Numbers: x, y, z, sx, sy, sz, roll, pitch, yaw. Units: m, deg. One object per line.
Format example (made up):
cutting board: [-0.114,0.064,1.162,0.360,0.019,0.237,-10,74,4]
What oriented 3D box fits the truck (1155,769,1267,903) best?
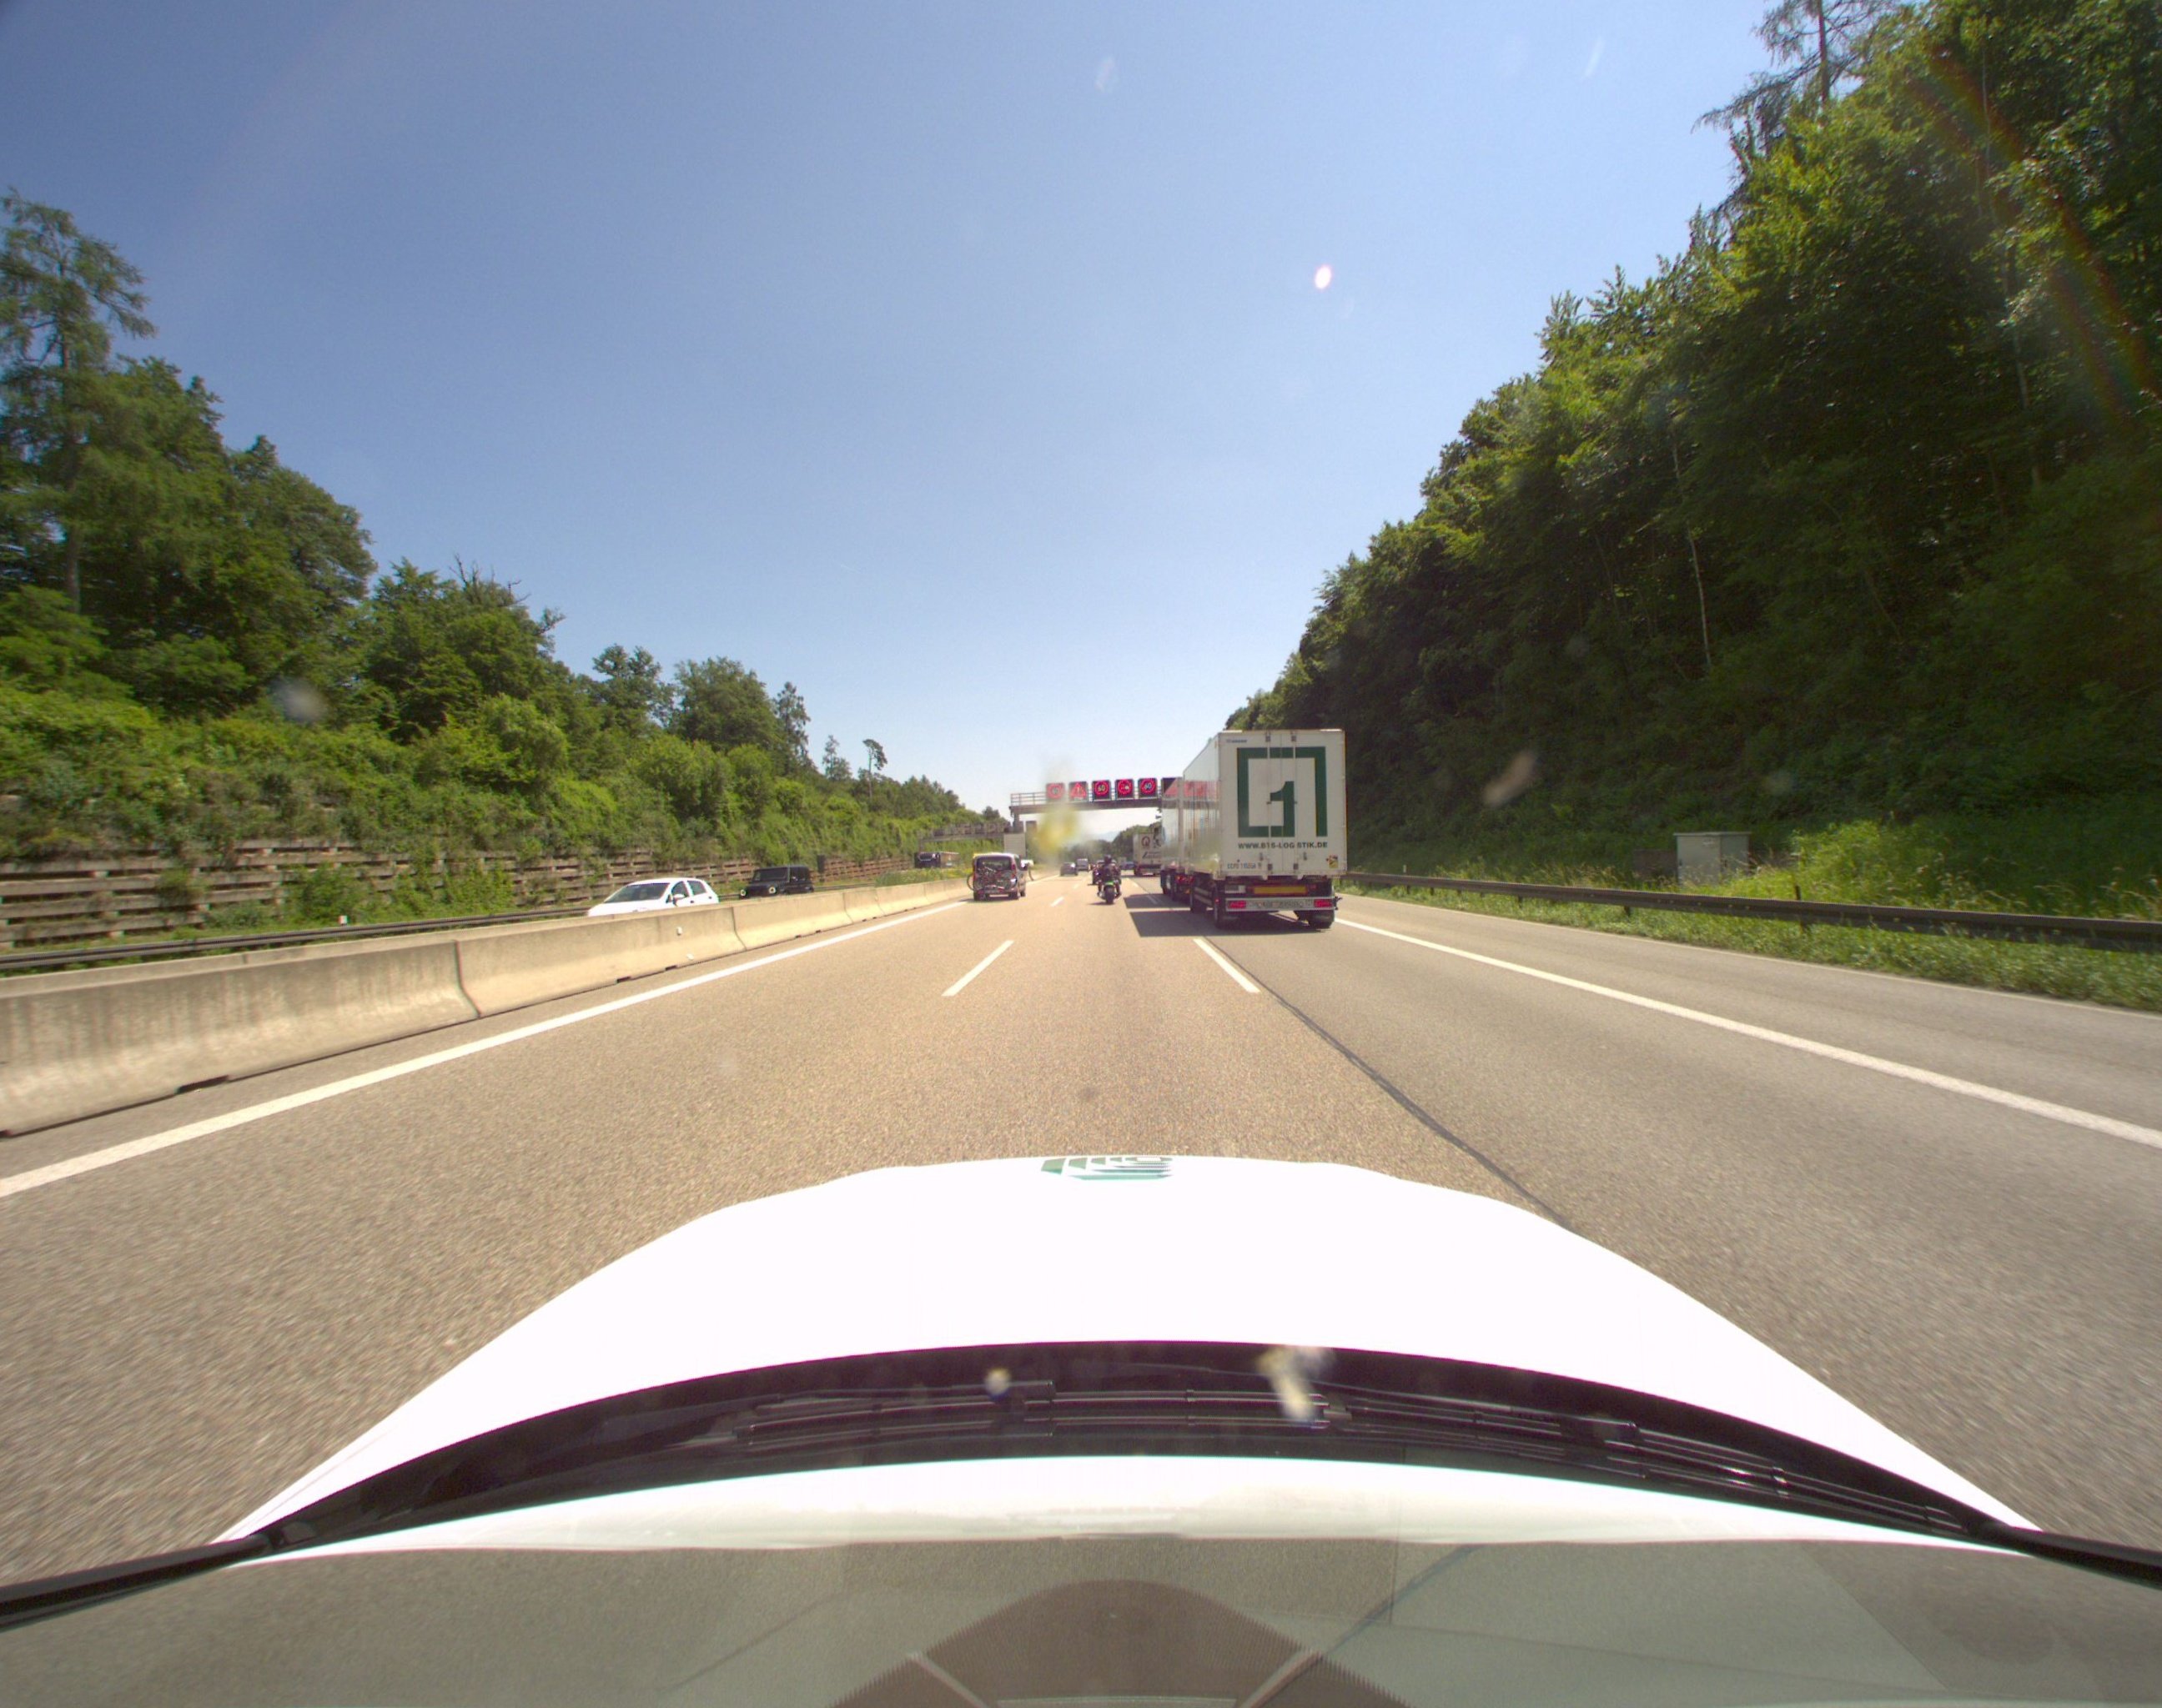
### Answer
truck: [4.447,-0.501,30.253,2.670,4.059,10.628,-1,-1,2]

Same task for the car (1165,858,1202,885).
car: [6.311,1.031,50.500,1.839,1.557,4.393,-1,0,1]

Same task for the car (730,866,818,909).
car: [-13.403,1.419,35.916,1.933,1.605,4.658,-3,0,1]

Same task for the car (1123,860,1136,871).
car: [7.426,1.771,125.274,1.824,1.527,4.028,-1,0,1]

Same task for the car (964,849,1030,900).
car: [-3.274,0.786,32.788,1.891,1.848,5.484,-1,-1,1]

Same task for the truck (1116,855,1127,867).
truck: [11.614,1.952,234.802,3.056,3.346,9.655,0,0,2]

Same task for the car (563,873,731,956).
car: [-10.292,1.367,19.702,1.740,1.605,4.059,-3,0,1]

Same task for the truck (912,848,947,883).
truck: [-18.866,1.472,101.869,2.923,4.059,5.870,-4,-1,2]

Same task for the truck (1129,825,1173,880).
truck: [6.579,-0.080,79.401,3.370,4.718,17.715,0,0,2]

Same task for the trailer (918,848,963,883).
trailer: [-18.653,1.496,109.253,2.967,4.101,13.999,-4,-1,2]

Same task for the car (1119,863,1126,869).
car: [10.563,3.141,208.018,1.824,1.527,4.028,-1,0,1]

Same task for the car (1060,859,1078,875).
car: [-1.250,1.373,87.159,1.751,1.544,4.396,-1,0,1]

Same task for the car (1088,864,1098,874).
car: [2.396,2.895,159.995,1.824,1.810,4.121,-1,0,1]

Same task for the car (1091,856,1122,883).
car: [1.558,0.910,50.386,1.839,1.557,4.440,-1,0,1]

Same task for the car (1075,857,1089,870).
car: [0.146,1.364,118.950,1.824,1.810,4.121,-1,0,1]

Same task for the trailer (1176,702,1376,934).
trailer: [4.131,-0.618,19.866,2.670,4.176,10.068,-1,-1,2]

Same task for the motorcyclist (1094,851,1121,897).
motorcyclist: [0.910,0.673,27.521,0.852,1.515,0.914,-2,-1,2]

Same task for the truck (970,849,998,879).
truck: [-14.548,1.480,122.316,2.940,4.202,6.460,-4,-1,2]

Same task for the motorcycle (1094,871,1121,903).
motorcycle: [0.920,1.092,27.498,0.859,0.982,2.132,-2,-1,3]

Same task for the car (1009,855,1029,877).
car: [-8.010,1.566,105.550,1.991,2.673,4.847,-3,0,1]
